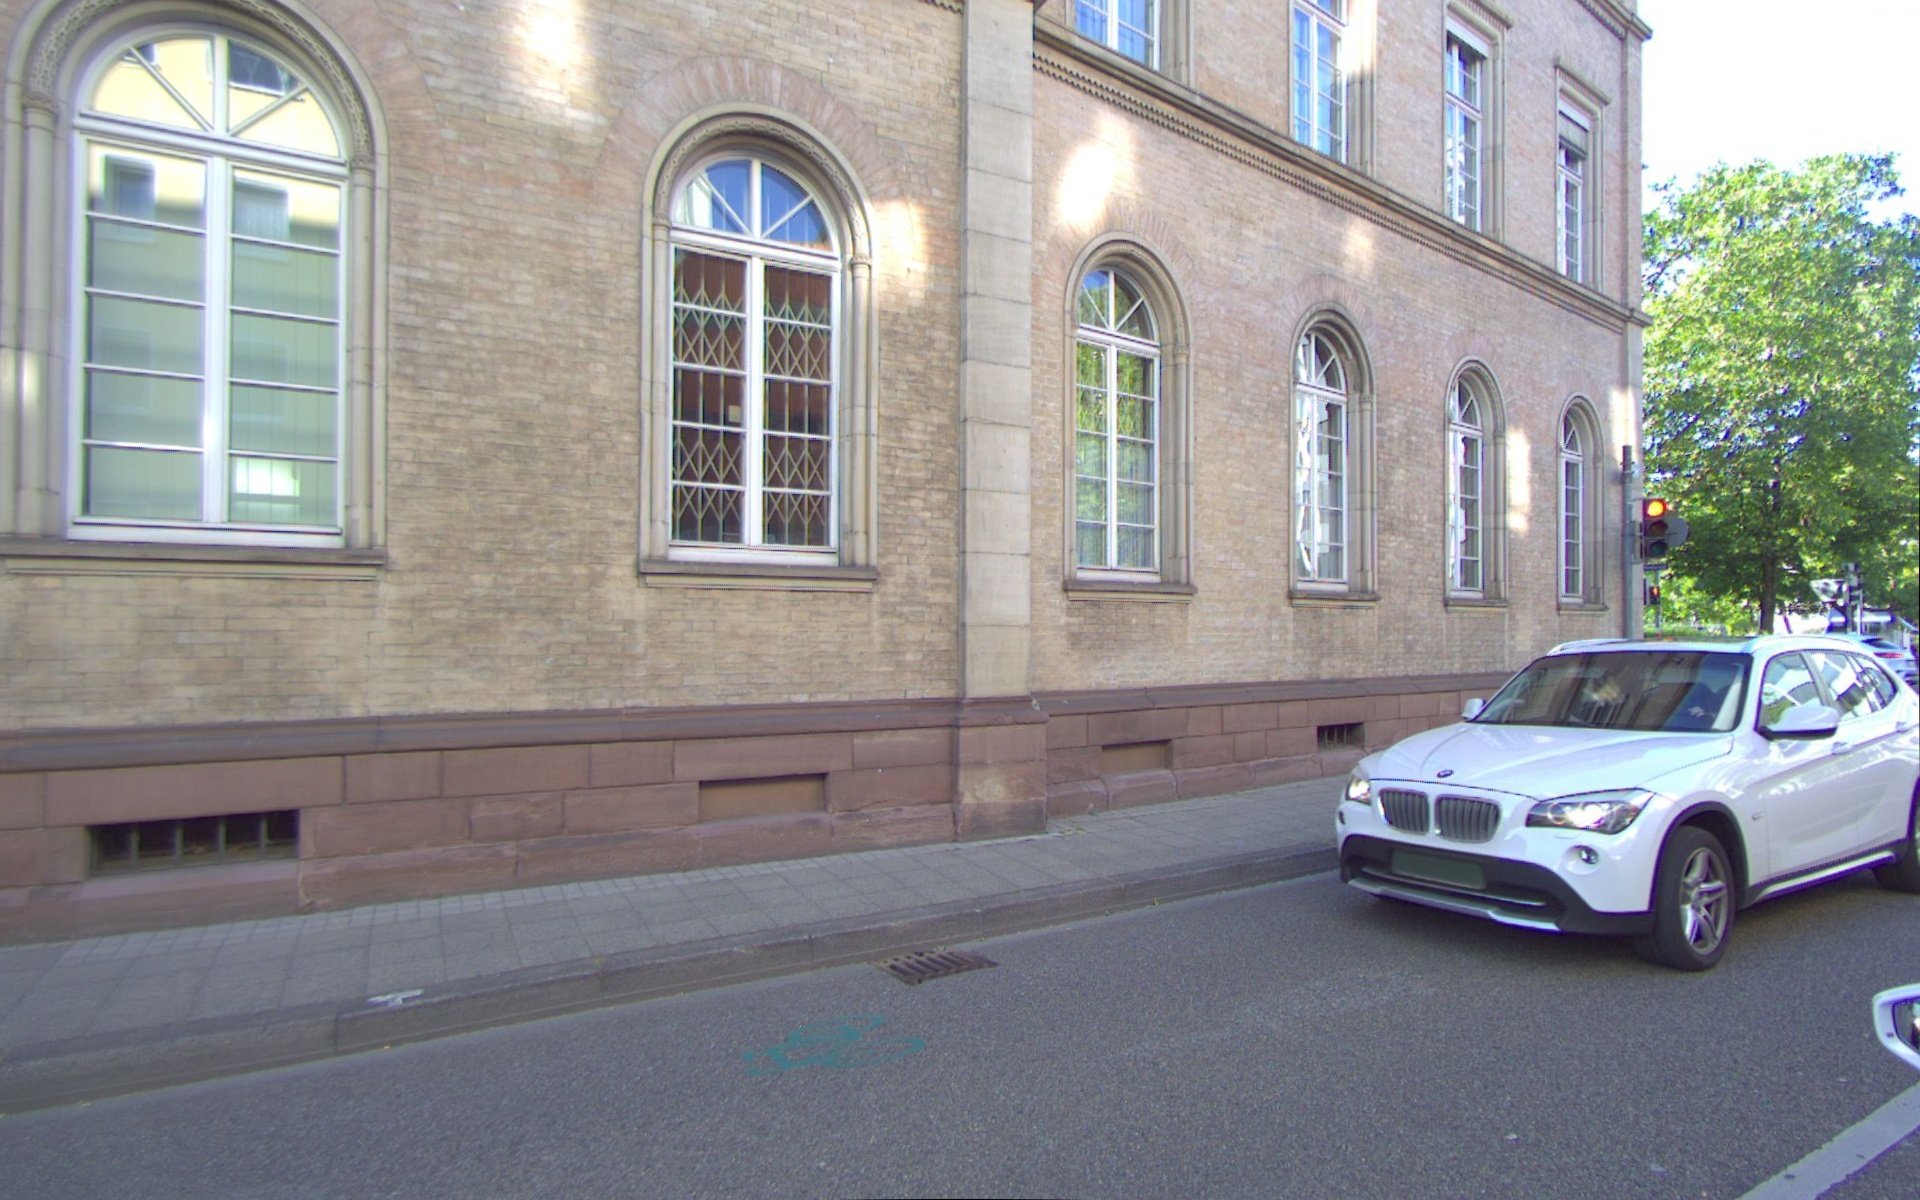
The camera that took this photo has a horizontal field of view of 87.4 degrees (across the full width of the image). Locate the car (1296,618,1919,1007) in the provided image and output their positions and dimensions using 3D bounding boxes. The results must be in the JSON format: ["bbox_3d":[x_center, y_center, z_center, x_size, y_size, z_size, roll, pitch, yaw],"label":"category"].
[{"bbox_3d":[4.148,0.958,5.964,4.223,1.603,1.678,1,-4,-30],"label":"car"}]

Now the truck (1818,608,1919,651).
[{"bbox_3d":[53.759,1.675,59.060,2.069,2.431,4.790,1,-1,-39],"label":"truck"}]

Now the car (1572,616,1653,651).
[{"bbox_3d":[47.834,2.485,73.713,2.056,2.423,4.521,2,-3,-38],"label":"car"}]

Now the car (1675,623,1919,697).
[{"bbox_3d":[19.939,1.364,24.020,1.807,1.596,4.290,1,-2,-36],"label":"car"}]
